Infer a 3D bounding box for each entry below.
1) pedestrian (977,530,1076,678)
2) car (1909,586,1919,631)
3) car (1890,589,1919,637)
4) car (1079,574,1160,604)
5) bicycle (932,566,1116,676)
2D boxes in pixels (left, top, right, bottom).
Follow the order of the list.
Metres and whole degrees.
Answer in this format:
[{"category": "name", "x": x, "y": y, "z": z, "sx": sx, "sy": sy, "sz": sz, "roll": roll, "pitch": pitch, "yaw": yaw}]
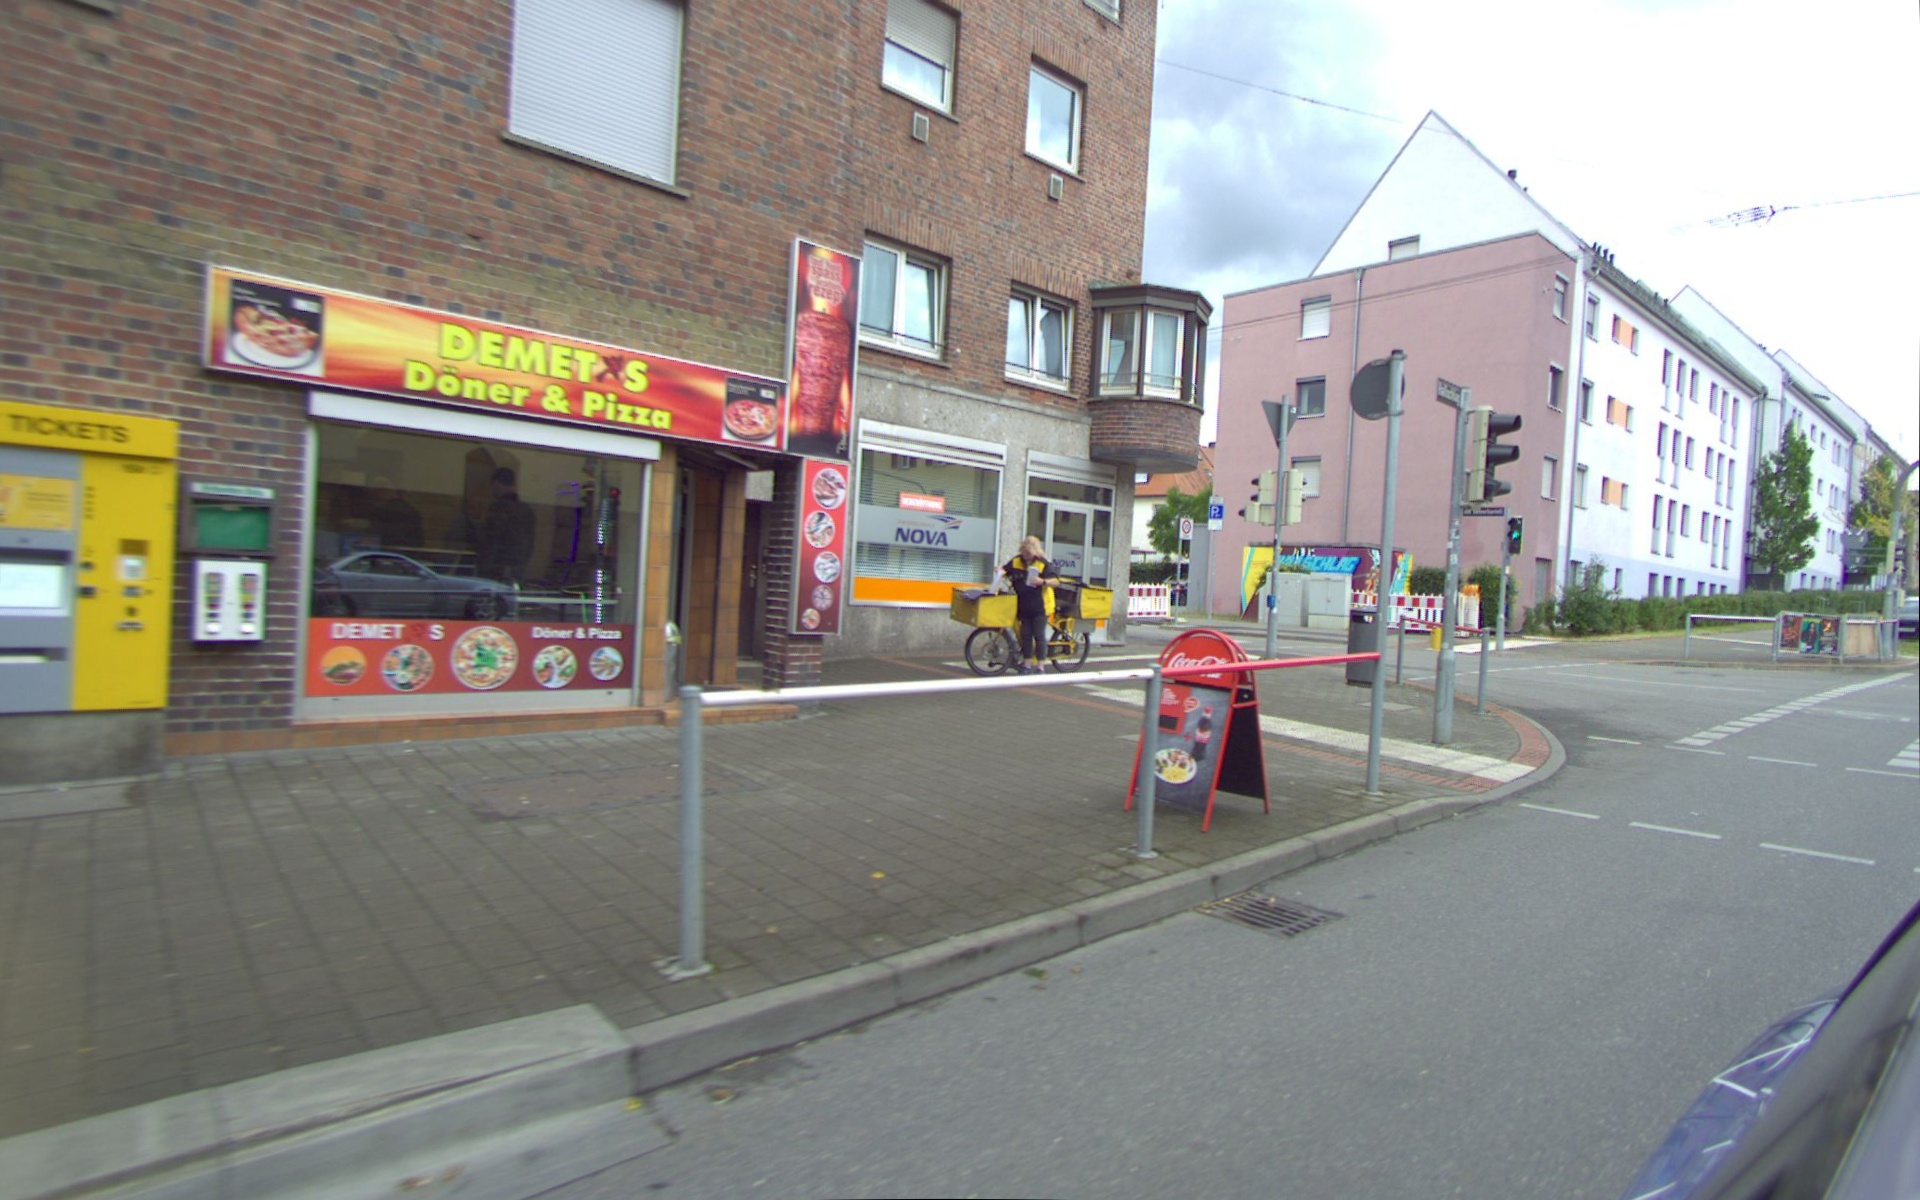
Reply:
[{"category": "pedestrian", "x": 0.788, "y": 0.028, "z": 12.111, "sx": 0.758, "sy": 1.676, "sz": 0.790, "roll": 1, "pitch": 4, "yaw": -40}, {"category": "car", "x": 39.220, "y": 0.341, "z": 40.308, "sx": 4.473, "sy": 1.737, "sz": 1.661, "roll": 0, "pitch": 1, "yaw": -42}, {"category": "car", "x": 35.171, "y": 0.441, "z": 36.690, "sx": 4.495, "sy": 1.608, "sz": 1.737, "roll": -1, "pitch": 2, "yaw": -42}, {"category": "car", "x": 7.923, "y": -0.557, "z": 50.109, "sx": 3.824, "sy": 1.372, "sz": 1.752, "roll": 0, "pitch": 2, "yaw": -37}, {"category": "bicycle", "x": 0.817, "y": 0.229, "z": 12.302, "sx": 2.350, "sy": 1.208, "sz": 0.761, "roll": 0, "pitch": 2, "yaw": -41}]
